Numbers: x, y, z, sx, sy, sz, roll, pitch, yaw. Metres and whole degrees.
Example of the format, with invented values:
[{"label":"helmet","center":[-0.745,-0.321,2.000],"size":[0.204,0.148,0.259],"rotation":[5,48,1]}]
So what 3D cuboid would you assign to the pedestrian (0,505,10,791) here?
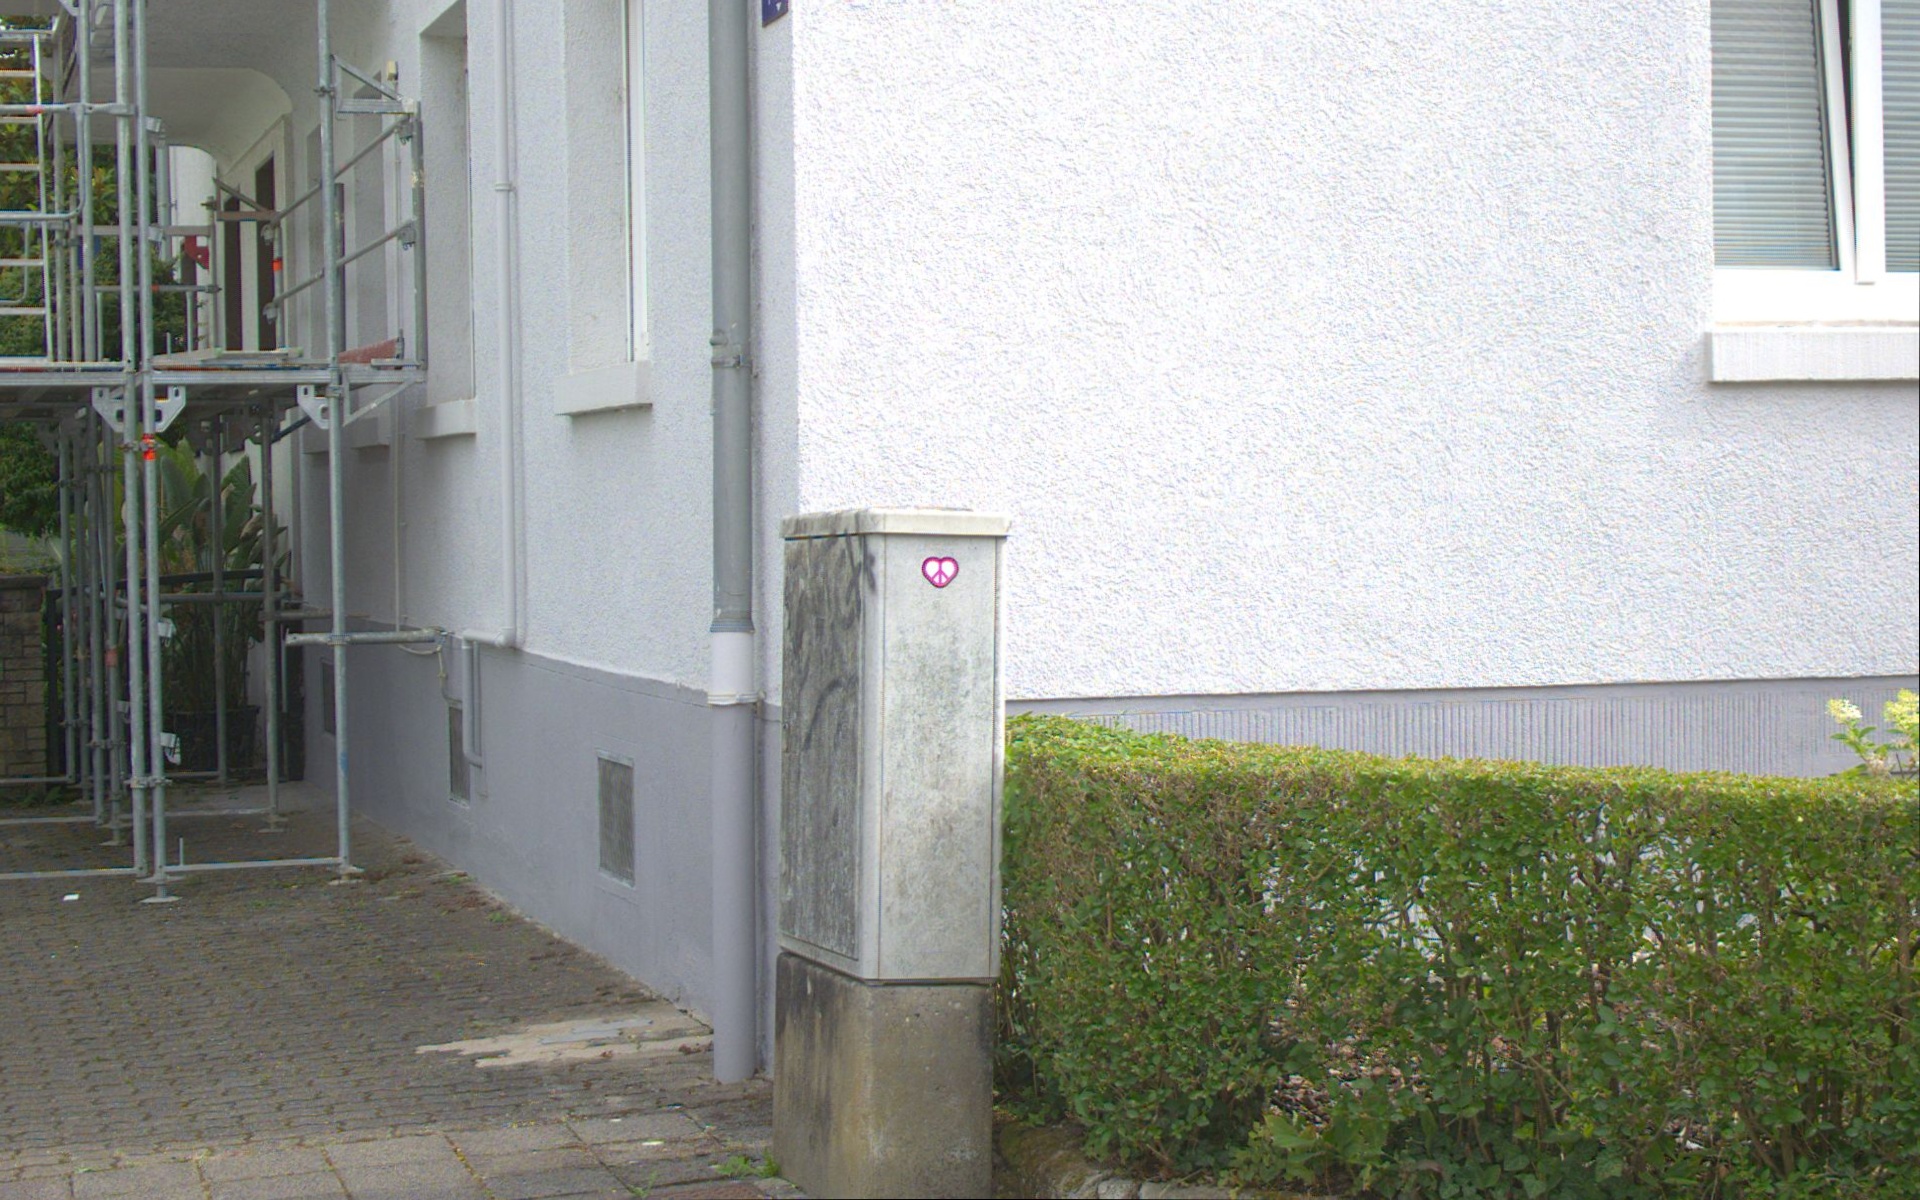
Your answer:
[{"label":"pedestrian","center":[-5.760,0.277,19.439],"size":[0.601,1.623,0.625],"rotation":[-1,0,-4]}]
